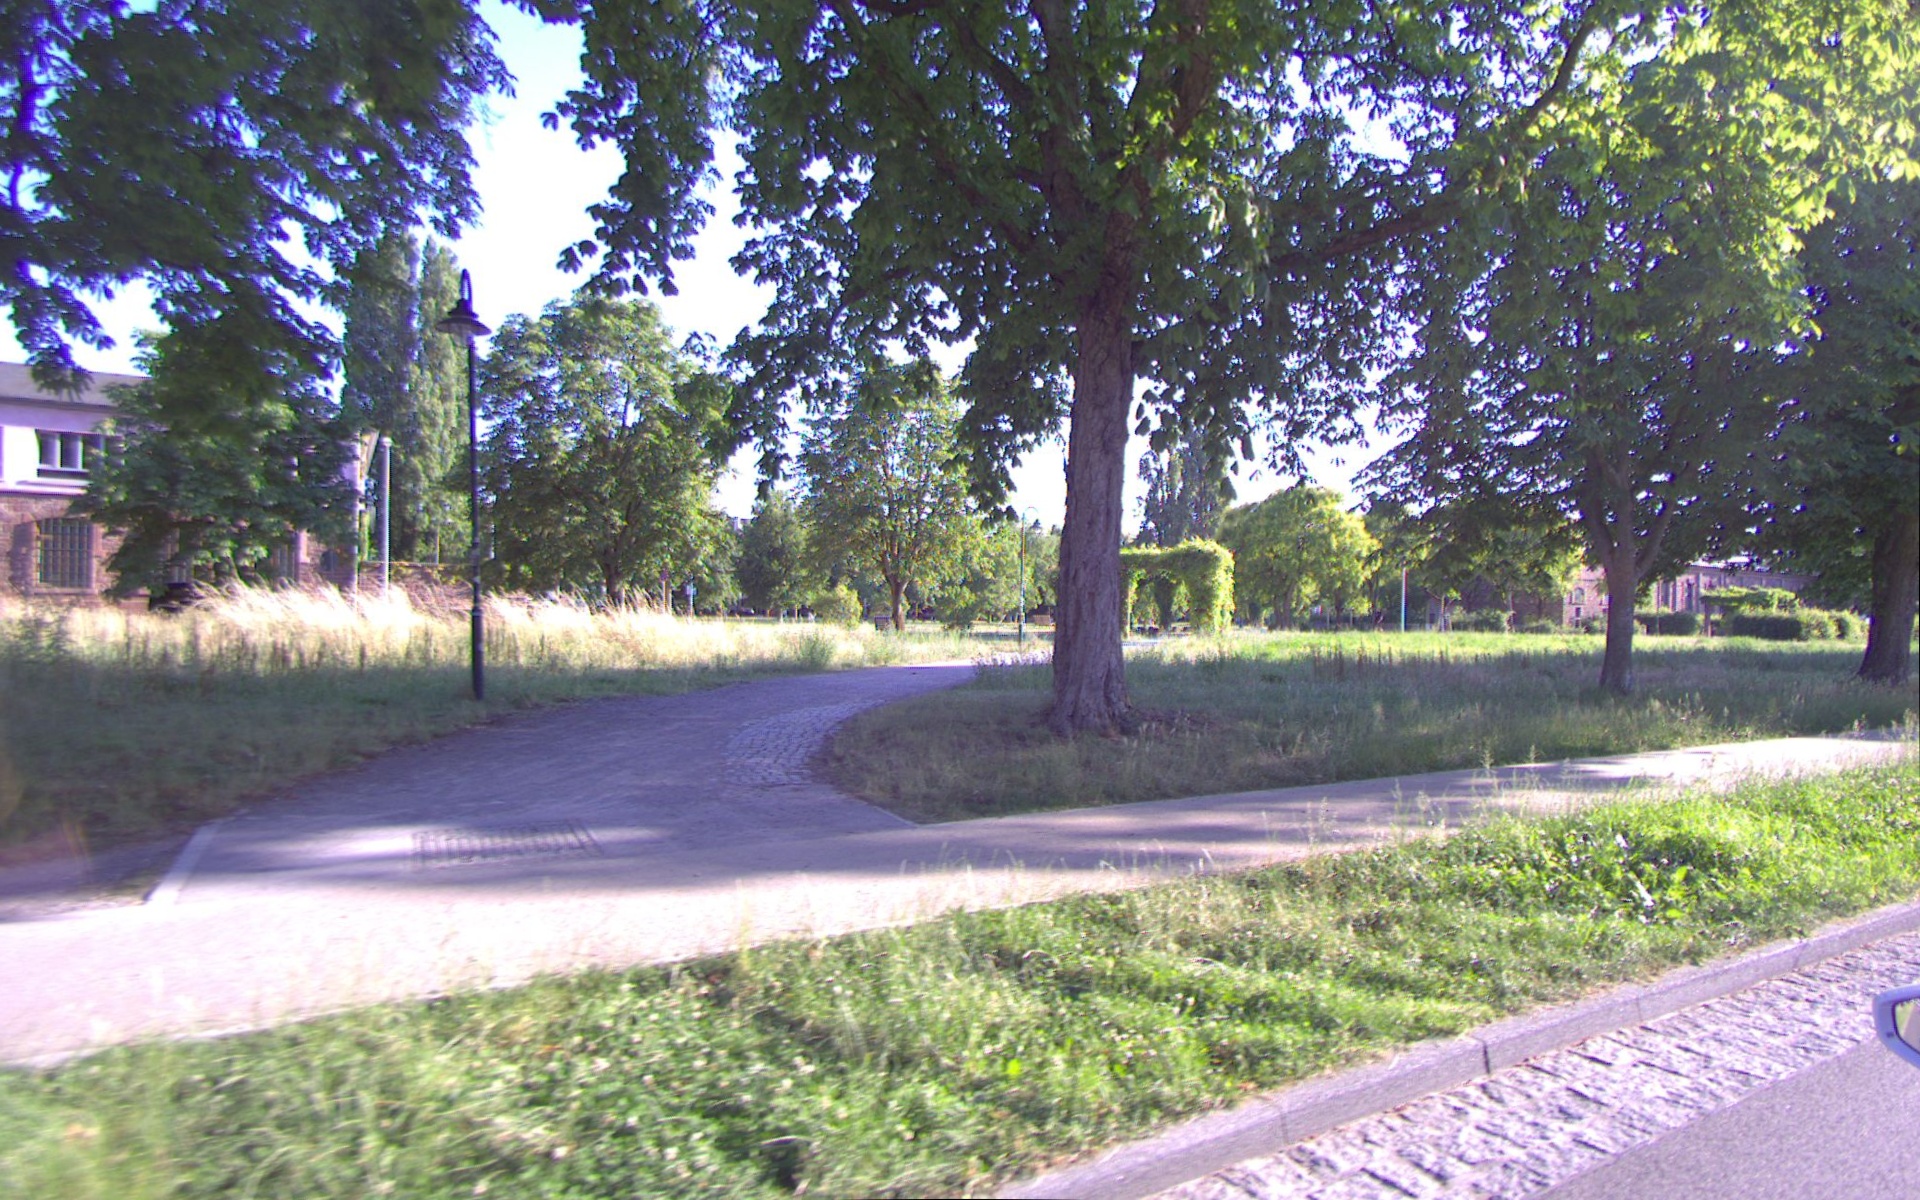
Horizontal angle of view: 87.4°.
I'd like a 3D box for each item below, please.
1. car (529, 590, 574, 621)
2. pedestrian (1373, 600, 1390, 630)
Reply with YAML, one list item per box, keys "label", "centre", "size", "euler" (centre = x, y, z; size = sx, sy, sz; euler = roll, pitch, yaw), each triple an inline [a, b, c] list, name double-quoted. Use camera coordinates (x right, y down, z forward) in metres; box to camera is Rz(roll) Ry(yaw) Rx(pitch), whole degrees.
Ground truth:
- label: "car"
  centre: [-18.992, 0.237, 46.618]
  size: [1.567, 1.297, 3.613]
  euler: [2, 1, -28]
- label: "pedestrian"
  centre: [24.630, 0.881, 58.732]
  size: [0.764, 1.747, 0.714]
  euler: [3, 1, 32]
